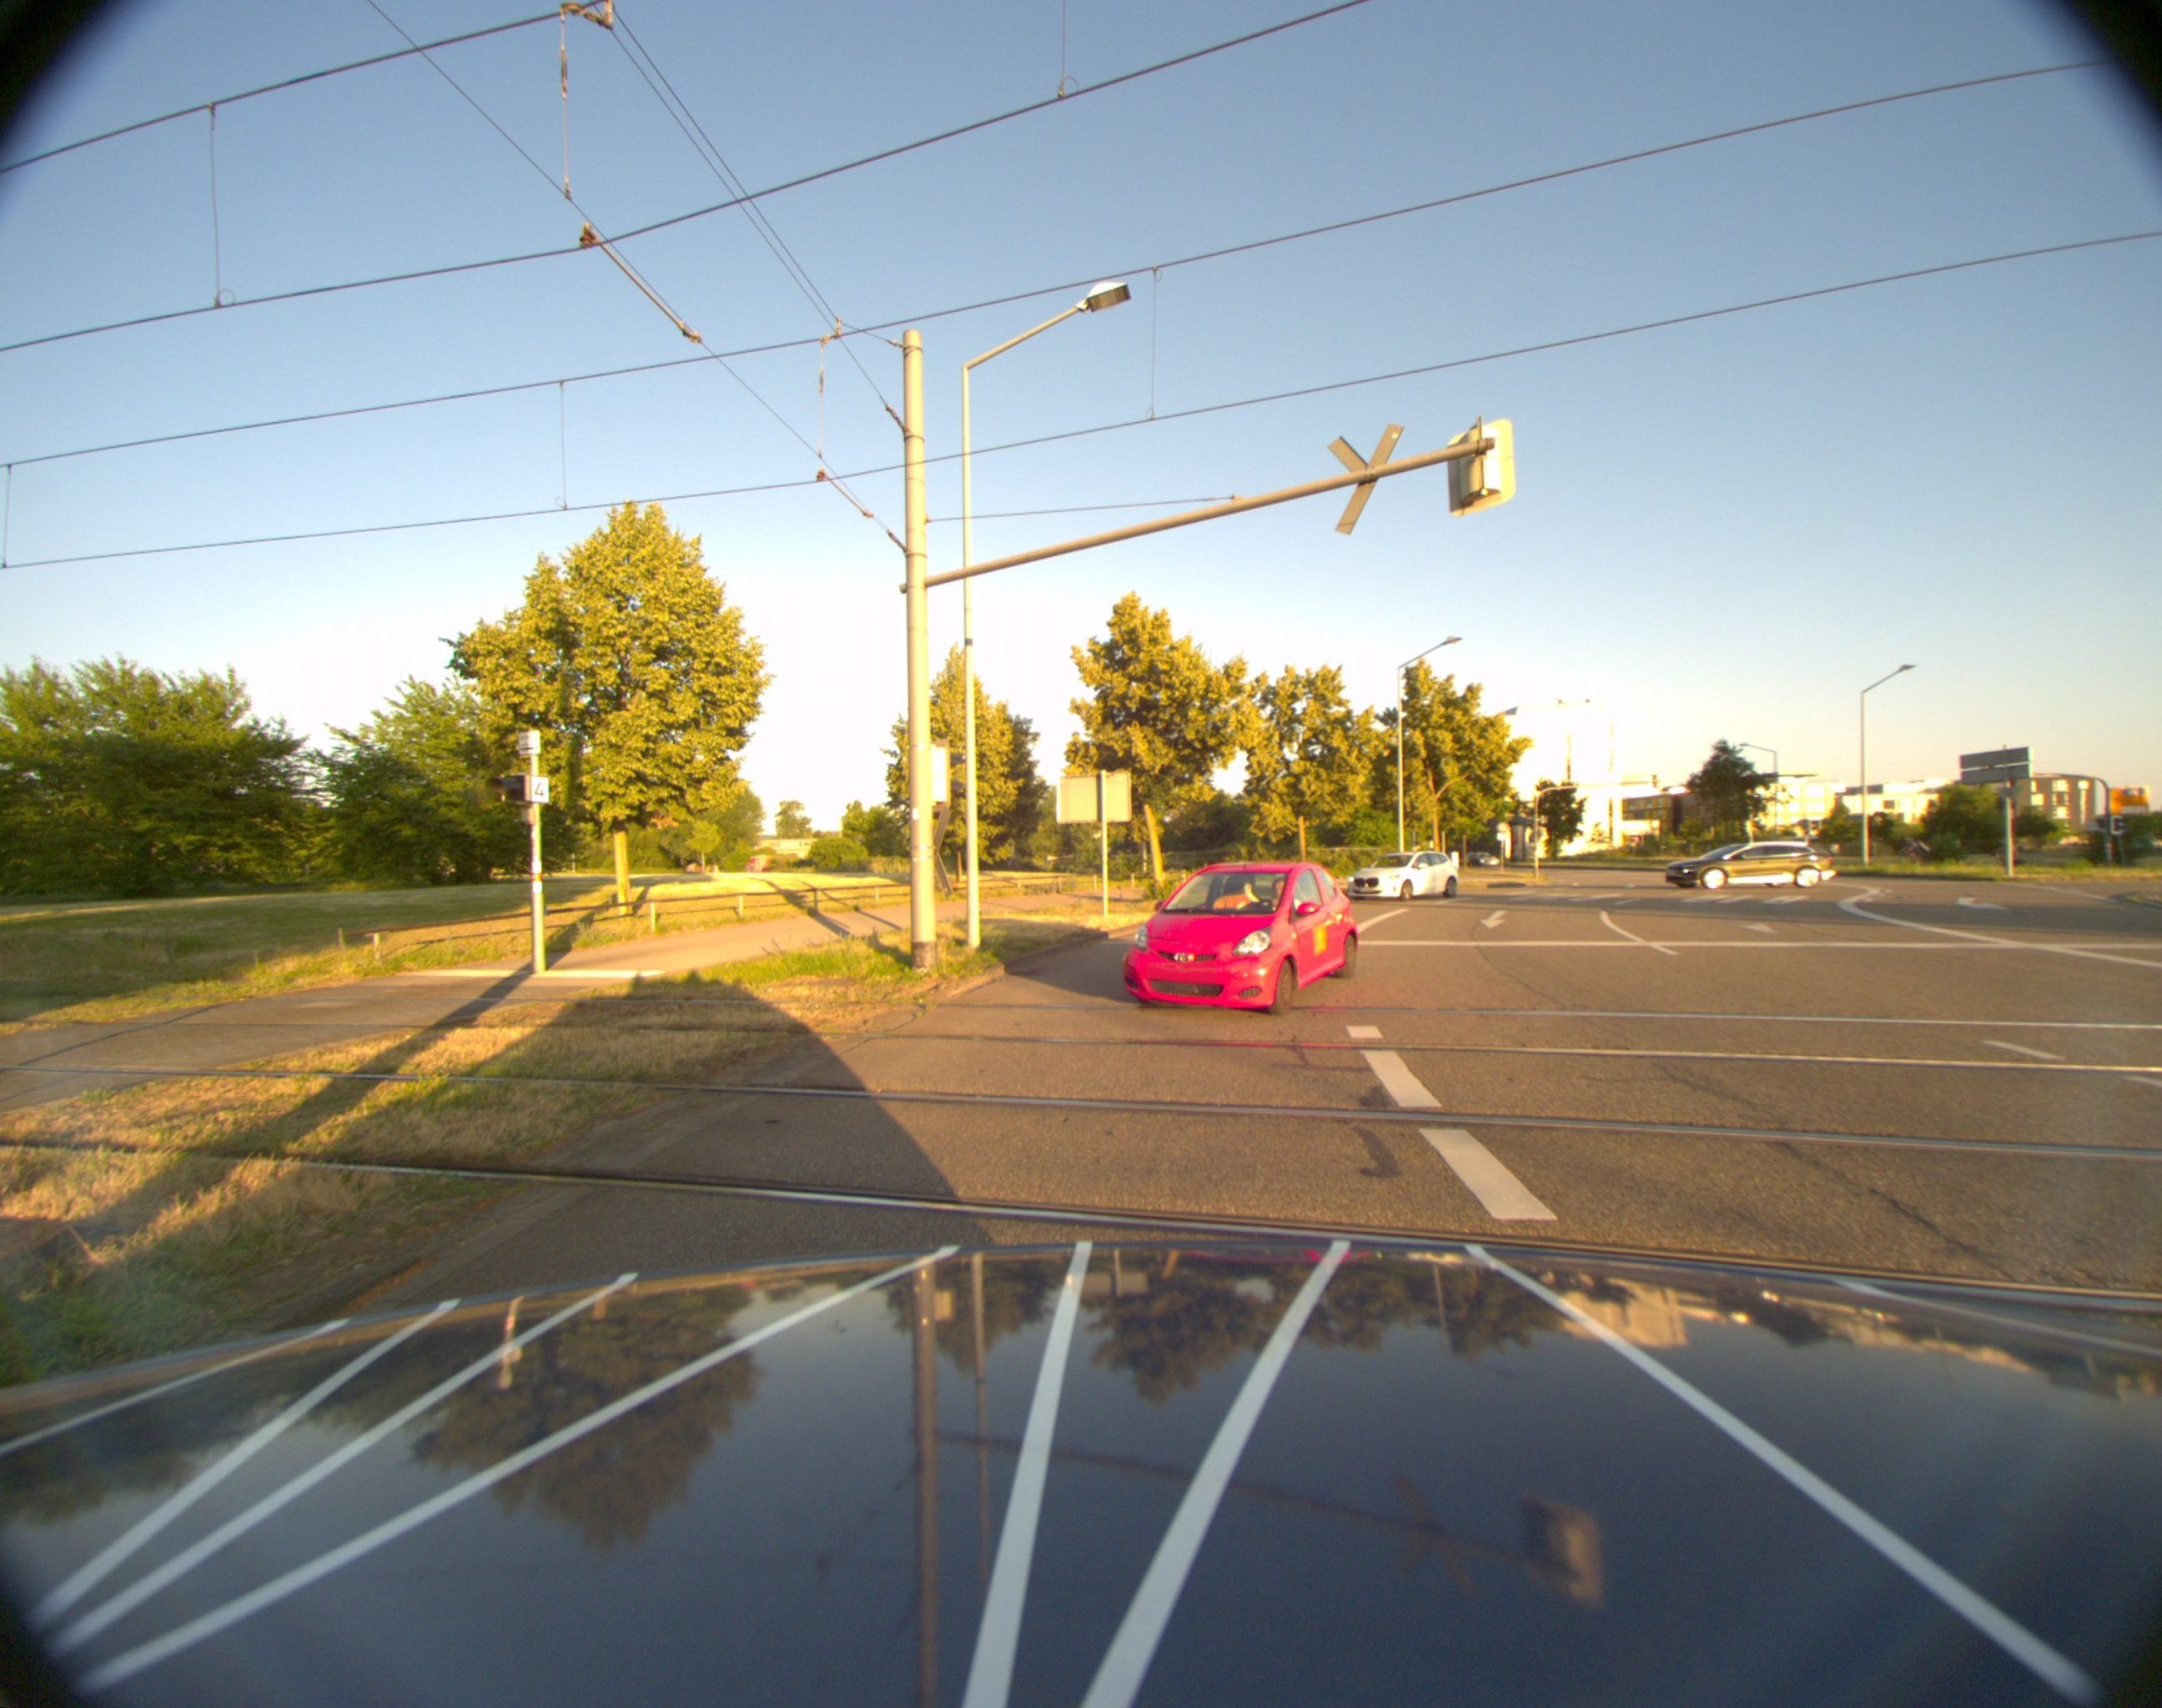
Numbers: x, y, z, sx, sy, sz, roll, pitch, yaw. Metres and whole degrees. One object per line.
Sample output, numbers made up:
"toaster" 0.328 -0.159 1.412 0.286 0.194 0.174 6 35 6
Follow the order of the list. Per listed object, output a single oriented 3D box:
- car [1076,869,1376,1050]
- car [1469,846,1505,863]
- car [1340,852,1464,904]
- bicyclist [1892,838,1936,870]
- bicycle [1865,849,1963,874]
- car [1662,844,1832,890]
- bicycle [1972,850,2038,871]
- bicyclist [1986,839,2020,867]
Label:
"car" 1.861 0.928 8.446 1.690 1.413 4.220 -2 -1 34
"car" 41.216 0.010 77.310 1.871 1.616 4.195 -1 1 8
"car" 10.524 0.722 24.776 4.222 1.549 1.756 -1 0 -35
"bicyclist" 46.871 -0.004 42.776 1.413 1.739 1.126 -1 1 30
"bicycle" 46.838 0.421 42.802 3.529 1.387 1.126 -1 1 30
"car" 23.665 0.451 27.160 4.207 1.549 1.830 -1 0 13
"bicycle" 53.193 0.361 43.772 2.323 1.172 0.812 -1 1 22
"bicyclist" 53.117 -0.063 43.787 0.998 1.623 0.812 -1 1 23
